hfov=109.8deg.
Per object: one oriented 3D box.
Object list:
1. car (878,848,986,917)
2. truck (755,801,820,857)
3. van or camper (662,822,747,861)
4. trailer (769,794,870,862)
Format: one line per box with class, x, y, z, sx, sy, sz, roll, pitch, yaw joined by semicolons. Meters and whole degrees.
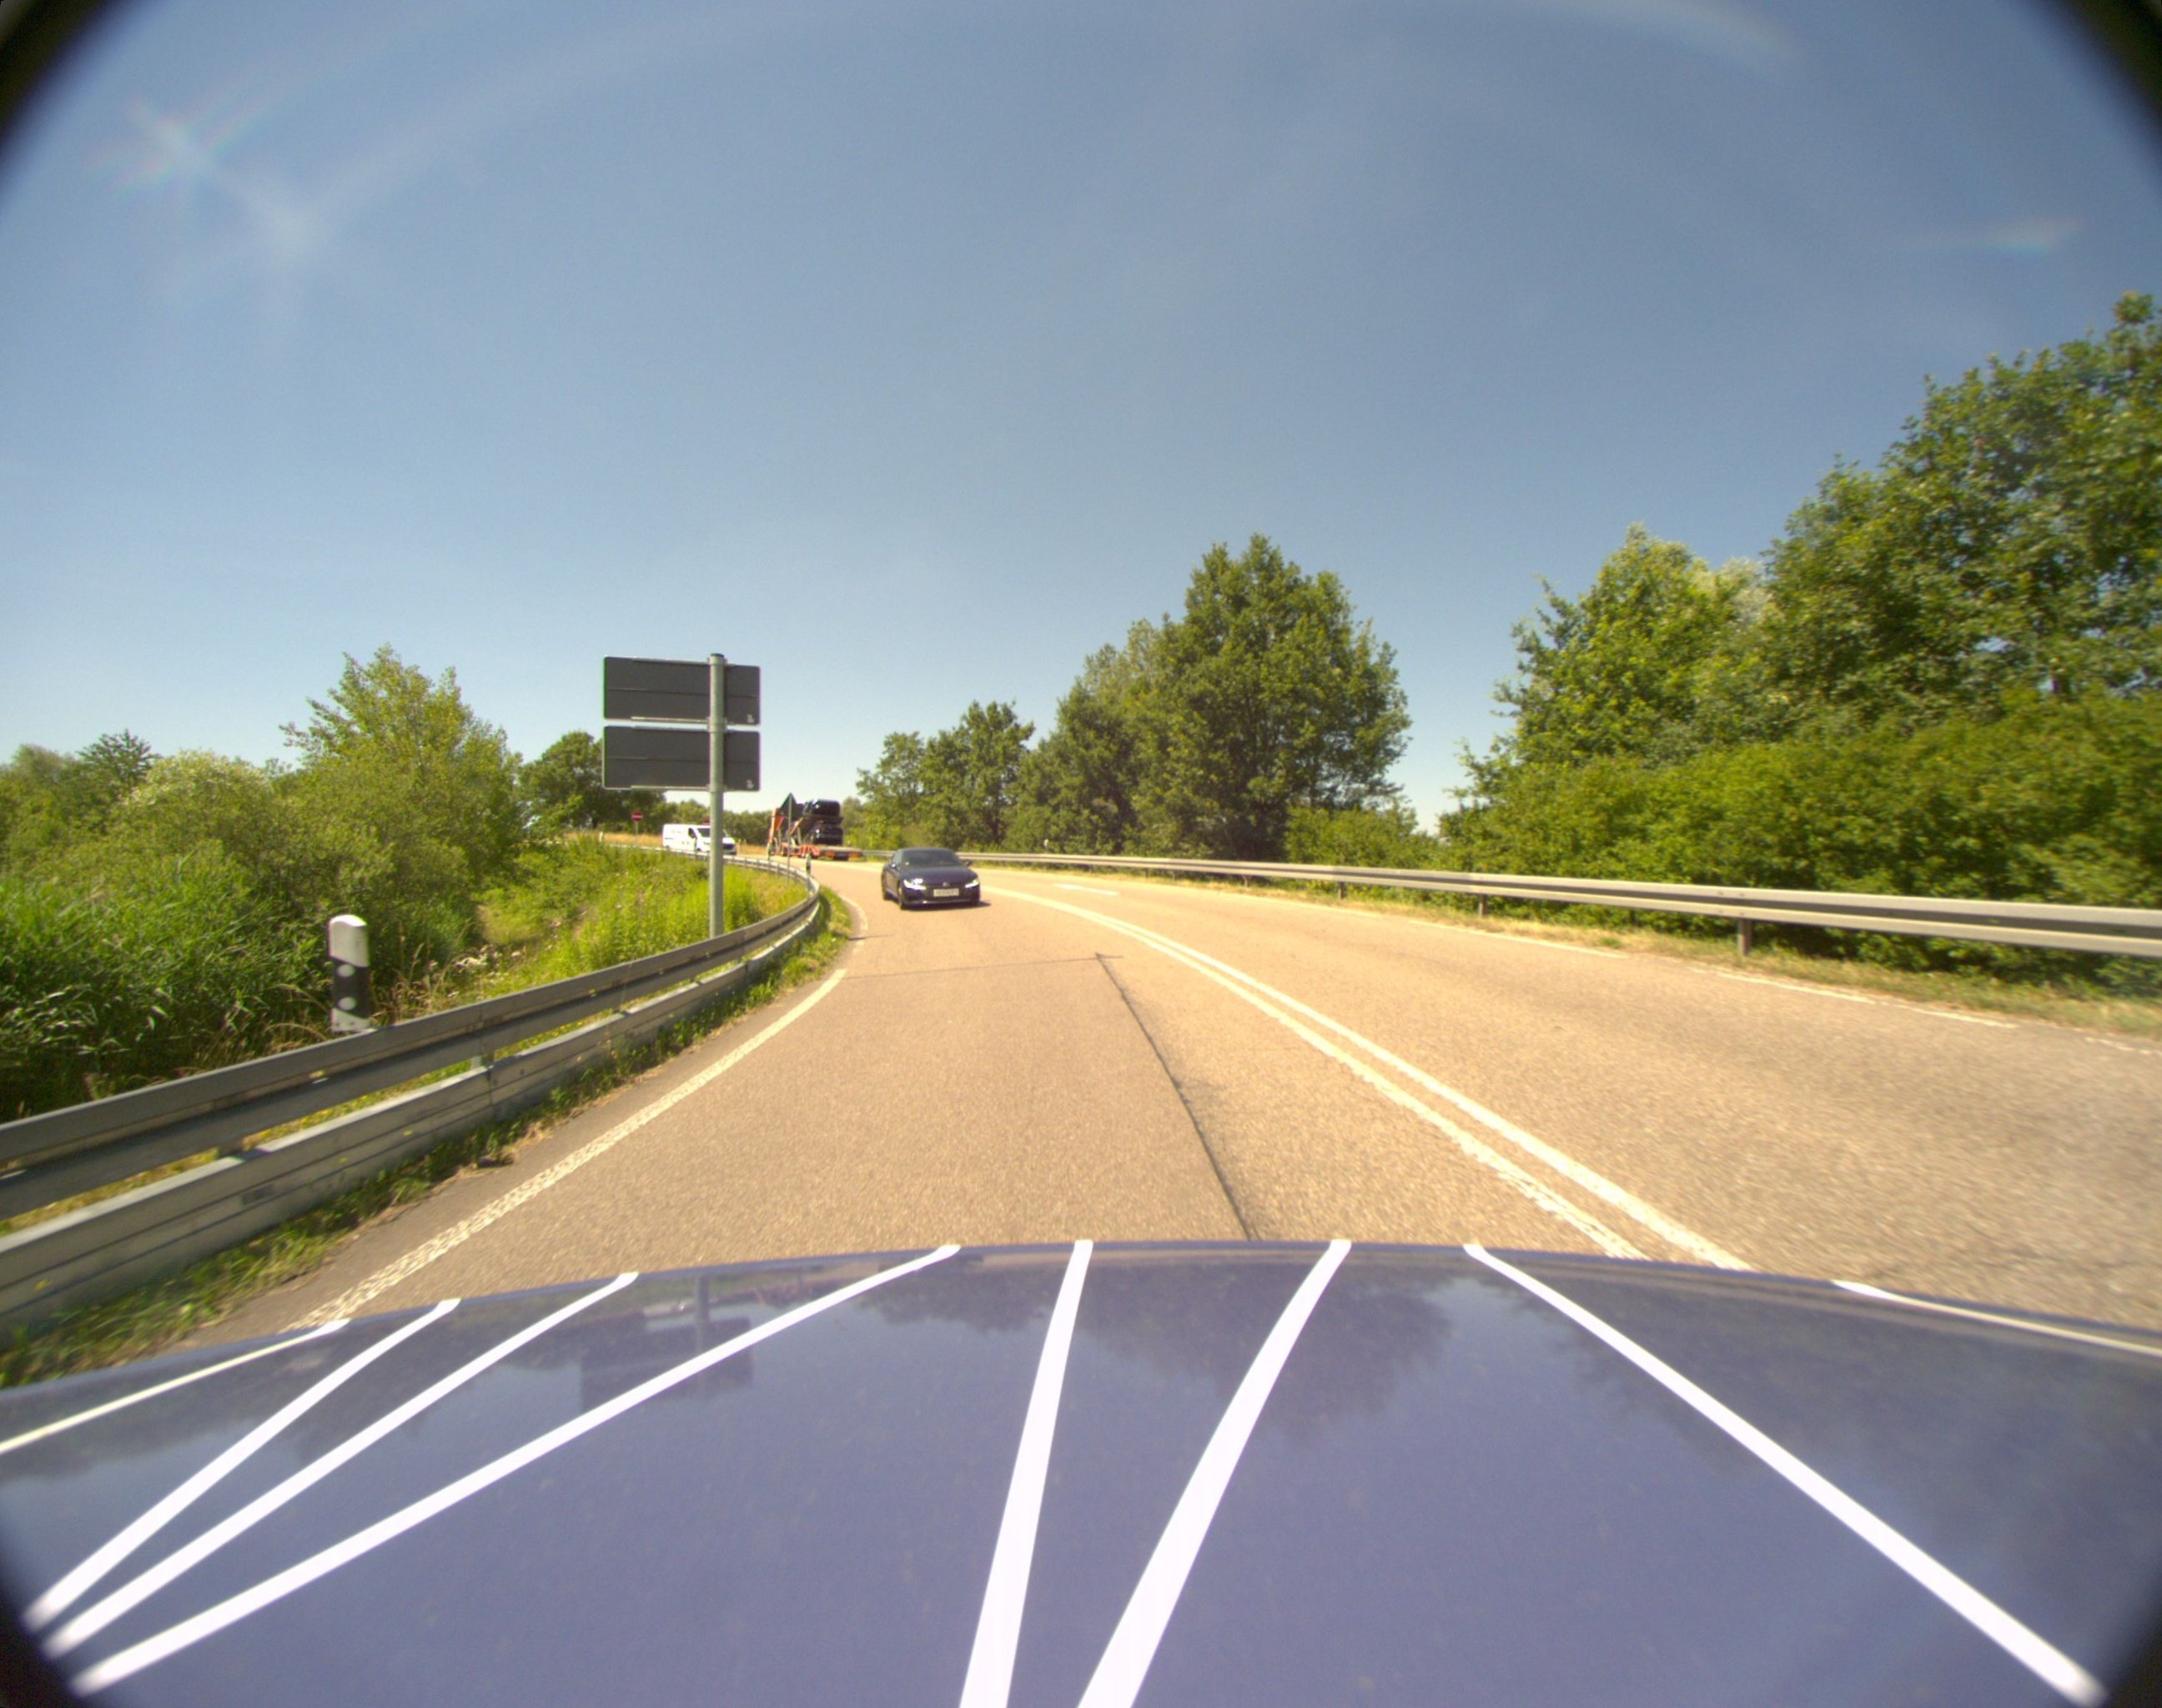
car;-3.889;0.612;19.233;1.846;1.422;4.525;-4;2;-21
truck;-22.217;-1.925;57.263;2.803;3.877;8.755;-2;3;-32
van or camper;-21.348;-0.719;42.971;5.432;2.020;2.013;1;4;38
trailer;-17.556;-1.711;50.027;2.806;3.877;13.947;-2;3;-33
